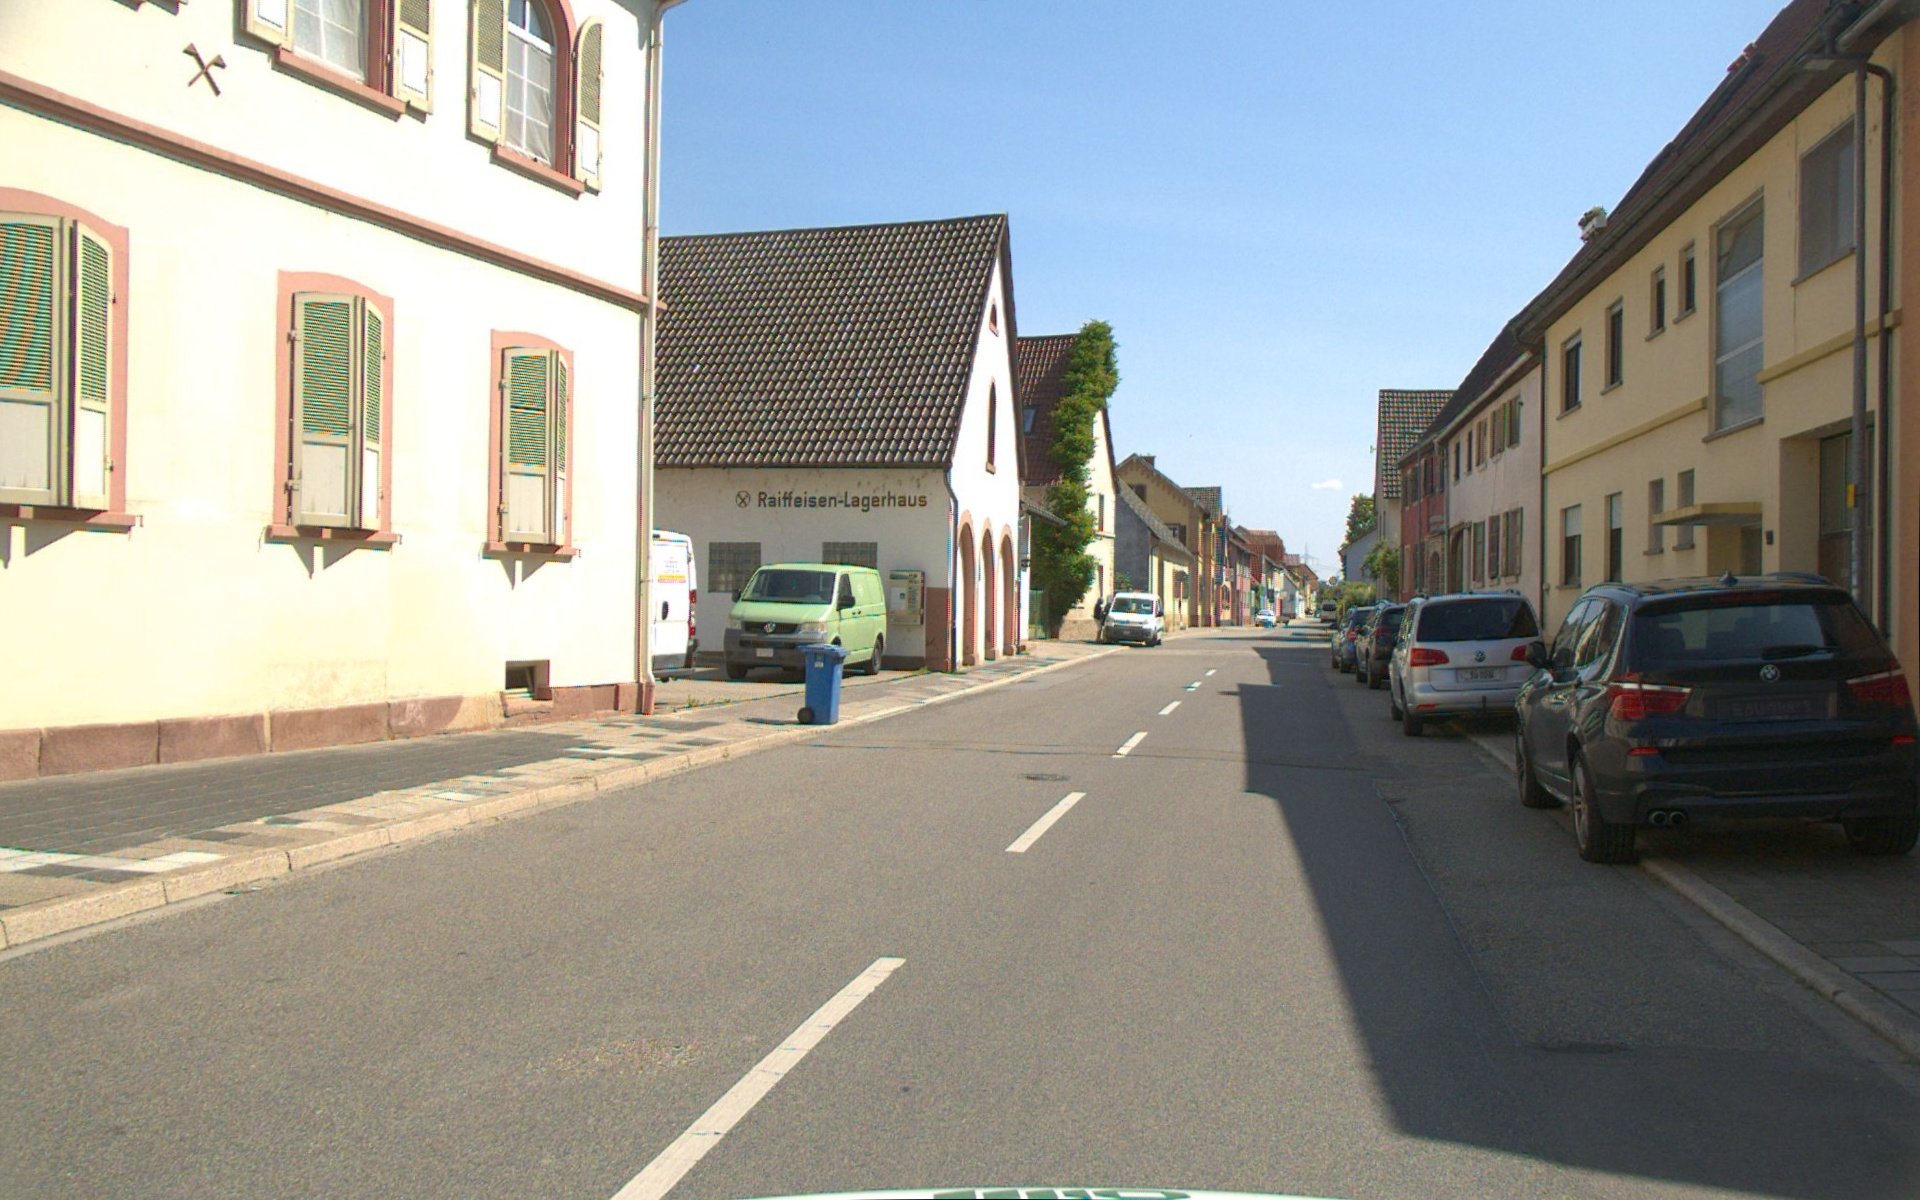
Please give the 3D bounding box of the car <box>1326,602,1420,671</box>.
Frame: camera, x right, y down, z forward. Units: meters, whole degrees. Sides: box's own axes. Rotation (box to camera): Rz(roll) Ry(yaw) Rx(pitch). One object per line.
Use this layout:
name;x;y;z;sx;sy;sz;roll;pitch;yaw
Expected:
car;9.370;0.795;37.790;1.662;1.495;4.413;0;0;9

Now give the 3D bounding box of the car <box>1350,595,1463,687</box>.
car;8.323;0.730;31.107;1.662;1.611;4.030;0;0;9

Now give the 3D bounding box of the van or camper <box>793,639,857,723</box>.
van or camper;-1.616;0.960;19.836;0.577;0.968;0.600;1;0;16

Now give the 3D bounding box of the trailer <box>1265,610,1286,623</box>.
trailer;31.642;1.645;165.842;1.951;1.109;4.004;0;2;11

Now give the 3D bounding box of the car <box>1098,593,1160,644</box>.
car;5.904;0.629;57.437;1.815;1.676;4.433;1;0;10

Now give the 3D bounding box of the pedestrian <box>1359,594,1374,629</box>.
pedestrian;20.411;0.581;83.021;0.703;1.693;0.893;1;0;16

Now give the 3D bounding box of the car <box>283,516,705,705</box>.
car;-6.150;0.083;21.862;5.070;2.235;2.122;2;0;21

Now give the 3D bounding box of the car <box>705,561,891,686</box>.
car;-2.740;0.382;29.217;1.951;1.999;4.673;1;0;12

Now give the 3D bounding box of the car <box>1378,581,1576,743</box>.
car;6.343;0.700;20.731;1.858;1.758;4.252;2;0;11

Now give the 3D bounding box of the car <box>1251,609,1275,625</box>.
car;27.392;1.528;149.432;1.951;1.467;4.003;0;0;12

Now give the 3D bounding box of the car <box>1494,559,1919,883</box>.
car;4.981;0.650;11.532;1.805;1.732;5.185;0;0;11

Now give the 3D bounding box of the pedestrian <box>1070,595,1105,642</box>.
pedestrian;4.478;0.647;58.082;1.112;1.579;1.017;1;0;9

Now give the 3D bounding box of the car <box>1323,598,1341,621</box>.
car;43.244;1.113;192.440;1.974;2.613;4.003;0;0;12
